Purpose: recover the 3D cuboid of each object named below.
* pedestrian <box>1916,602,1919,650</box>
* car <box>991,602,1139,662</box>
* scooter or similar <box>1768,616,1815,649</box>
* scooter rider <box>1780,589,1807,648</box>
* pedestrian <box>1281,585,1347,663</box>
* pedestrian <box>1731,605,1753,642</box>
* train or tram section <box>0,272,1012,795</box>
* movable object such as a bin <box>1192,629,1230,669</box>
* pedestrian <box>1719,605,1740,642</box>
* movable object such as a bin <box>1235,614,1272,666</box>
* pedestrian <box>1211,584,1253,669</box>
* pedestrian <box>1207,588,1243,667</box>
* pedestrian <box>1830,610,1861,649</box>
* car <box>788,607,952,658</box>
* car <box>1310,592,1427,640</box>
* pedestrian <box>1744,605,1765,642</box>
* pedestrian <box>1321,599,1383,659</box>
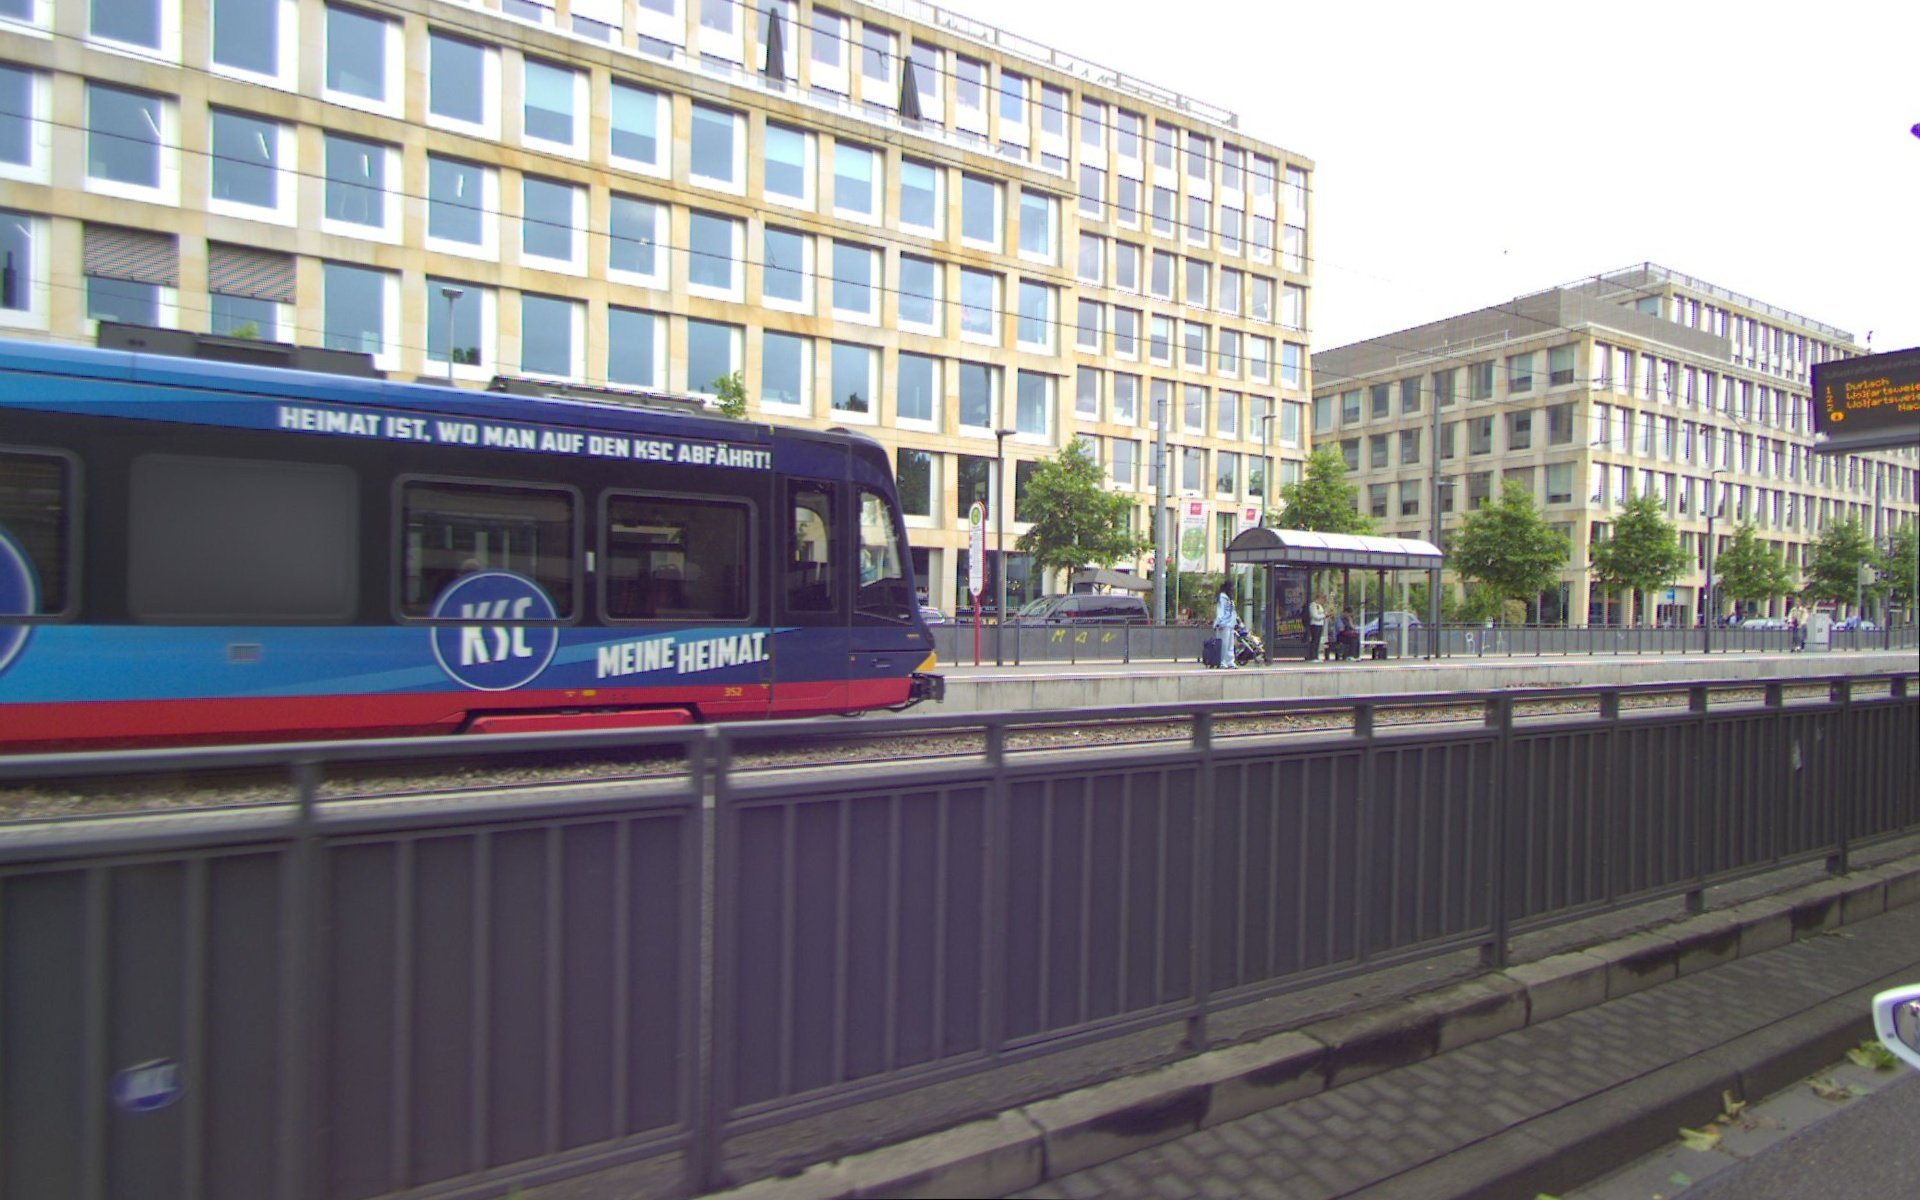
[{"bbox_3d":[37.251,1.017,38.423,1.147,1.819,0.708,2,-1,-31],"label":"pedestrian"},{"bbox_3d":[3.134,0.954,30.024,3.950,1.684,1.986,2,-1,-28],"label":"car"},{"bbox_3d":[29.095,1.136,35.132,2.200,1.129,0.520,2,-1,-30],"label":"scooter or similar"},{"bbox_3d":[29.169,0.662,35.160,0.673,2.036,0.513,2,0,-30],"label":"scooter rider"},{"bbox_3d":[8.069,0.546,22.917,0.927,1.708,1.034,2,-1,-26],"label":"pedestrian"},{"bbox_3d":[43.460,1.287,55.838,0.716,2.040,0.709,2,-1,-30],"label":"pedestrian"},{"bbox_3d":[-5.868,-0.421,9.459,13.365,3.741,2.840,2,-1,-31],"label":"train or tram section"},{"bbox_3d":[4.849,0.948,19.417,0.462,0.757,0.534,2,-1,-23],"label":"movable object such as a bin"},{"bbox_3d":[43.698,1.342,57.017,0.716,2.040,0.709,2,-1,-30],"label":"pedestrian"},{"bbox_3d":[6.078,0.822,20.790,0.610,1.035,0.722,1,-1,28],"label":"movable object such as a bin"},{"bbox_3d":[5.323,0.510,19.631,0.557,1.628,0.534,1,0,-23],"label":"pedestrian"},{"bbox_3d":[5.577,0.578,21.119,0.569,1.628,0.656,1,-1,28],"label":"pedestrian"},{"bbox_3d":[46.983,1.555,53.301,1.020,2.040,0.928,2,-1,-31],"label":"pedestrian"},{"bbox_3d":[-2.400,0.873,26.926,3.950,1.243,1.889,2,-1,-28],"label":"car"},{"bbox_3d":[15.310,0.614,37.650,3.950,1.684,1.986,2,-1,-28],"label":"car"},{"bbox_3d":[44.797,1.330,56.637,0.716,2.040,0.709,2,-1,-30],"label":"pedestrian"},{"bbox_3d":[9.479,0.693,24.289,0.927,1.390,1.034,2,-1,-26],"label":"pedestrian"}]
